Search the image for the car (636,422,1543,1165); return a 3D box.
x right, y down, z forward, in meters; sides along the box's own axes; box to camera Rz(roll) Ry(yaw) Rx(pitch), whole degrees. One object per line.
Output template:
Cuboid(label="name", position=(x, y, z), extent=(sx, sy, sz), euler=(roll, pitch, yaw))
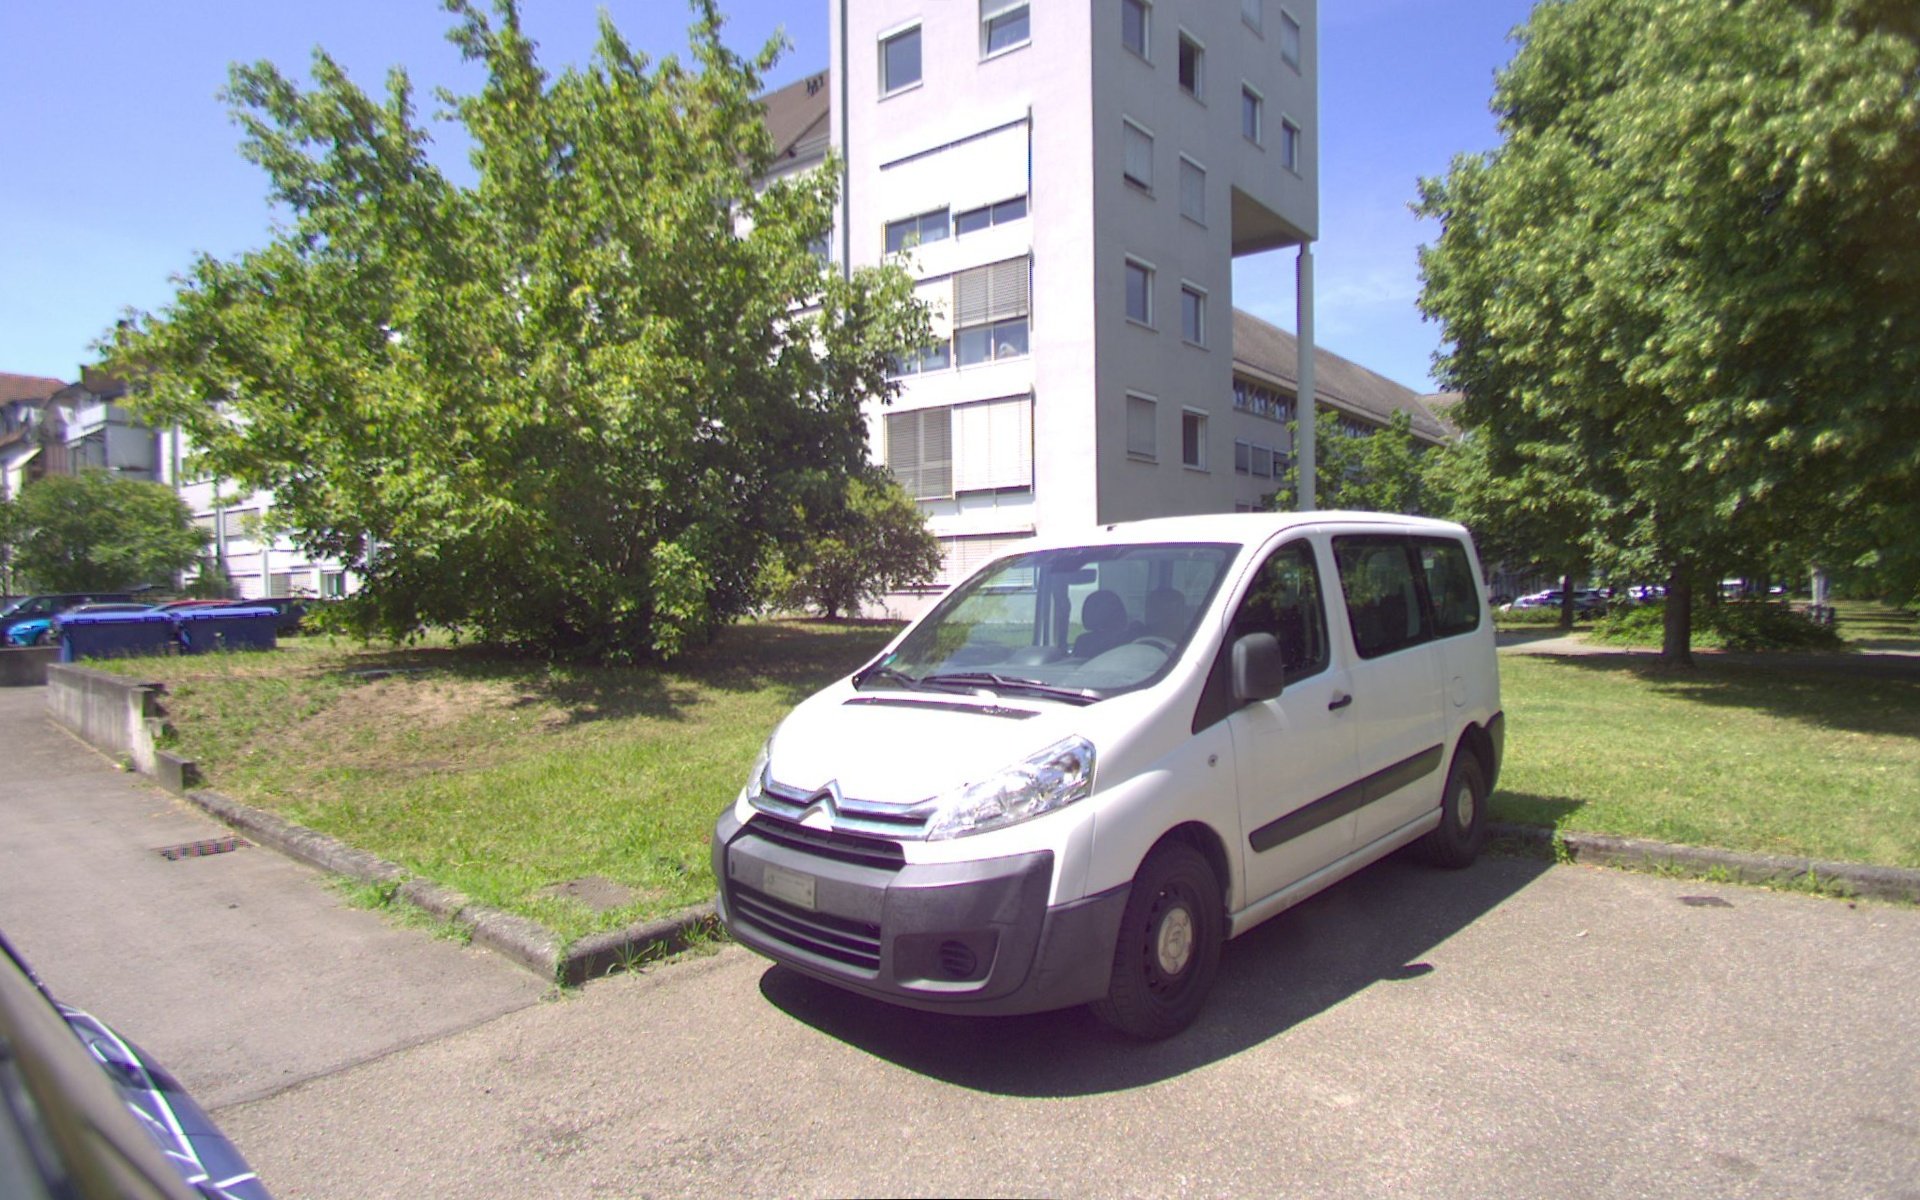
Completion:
Cuboid(label="car", position=(1.108, 0.462, 5.045), extent=(2.068, 1.897, 4.794), euler=(0, 1, 43))

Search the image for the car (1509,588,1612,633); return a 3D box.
Cuboid(label="car", position=(28.509, 0.462, 48.095), extent=(3.996, 2.029, 1.974), euler=(0, 1, 40))

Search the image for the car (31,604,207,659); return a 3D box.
Cuboid(label="car", position=(-27.309, 0.970, 32.993), extent=(1.610, 1.580, 4.174), euler=(0, 1, 36))

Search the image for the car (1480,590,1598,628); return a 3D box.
Cuboid(label="car", position=(25.941, 0.361, 45.390), extent=(4.337, 1.622, 1.908), euler=(0, 1, 40))

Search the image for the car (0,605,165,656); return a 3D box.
Cuboid(label="car", position=(-29.989, 0.988, 34.570), extent=(1.610, 1.580, 4.174), euler=(0, 1, 36))

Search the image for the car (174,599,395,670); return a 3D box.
Cuboid(label="car", position=(-16.970, 0.798, 25.648), extent=(1.610, 1.580, 4.393), euler=(0, 1, 36))

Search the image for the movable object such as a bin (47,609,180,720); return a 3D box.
Cuboid(label="movable object such as a bin", position=(-11.640, 0.845, 13.931), extent=(1.095, 1.399, 1.255), euler=(0, 1, 41))

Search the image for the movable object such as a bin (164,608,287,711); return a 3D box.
Cuboid(label="movable object such as a bin", position=(-10.816, 0.829, 14.914), extent=(1.095, 1.399, 1.255), euler=(0, 1, 41))

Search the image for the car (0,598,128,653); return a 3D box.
Cuboid(label="car", position=(-32.584, 0.859, 36.060), extent=(2.006, 1.837, 4.174), euler=(0, 1, 36))

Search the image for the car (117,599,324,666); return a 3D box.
Cuboid(label="car", position=(-19.500, 0.800, 26.861), extent=(1.610, 1.580, 4.174), euler=(0, 1, 36))

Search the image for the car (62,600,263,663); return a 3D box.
Cuboid(label="car", position=(-22.393, 0.832, 28.568), extent=(1.610, 1.580, 4.174), euler=(0, 1, 36))
